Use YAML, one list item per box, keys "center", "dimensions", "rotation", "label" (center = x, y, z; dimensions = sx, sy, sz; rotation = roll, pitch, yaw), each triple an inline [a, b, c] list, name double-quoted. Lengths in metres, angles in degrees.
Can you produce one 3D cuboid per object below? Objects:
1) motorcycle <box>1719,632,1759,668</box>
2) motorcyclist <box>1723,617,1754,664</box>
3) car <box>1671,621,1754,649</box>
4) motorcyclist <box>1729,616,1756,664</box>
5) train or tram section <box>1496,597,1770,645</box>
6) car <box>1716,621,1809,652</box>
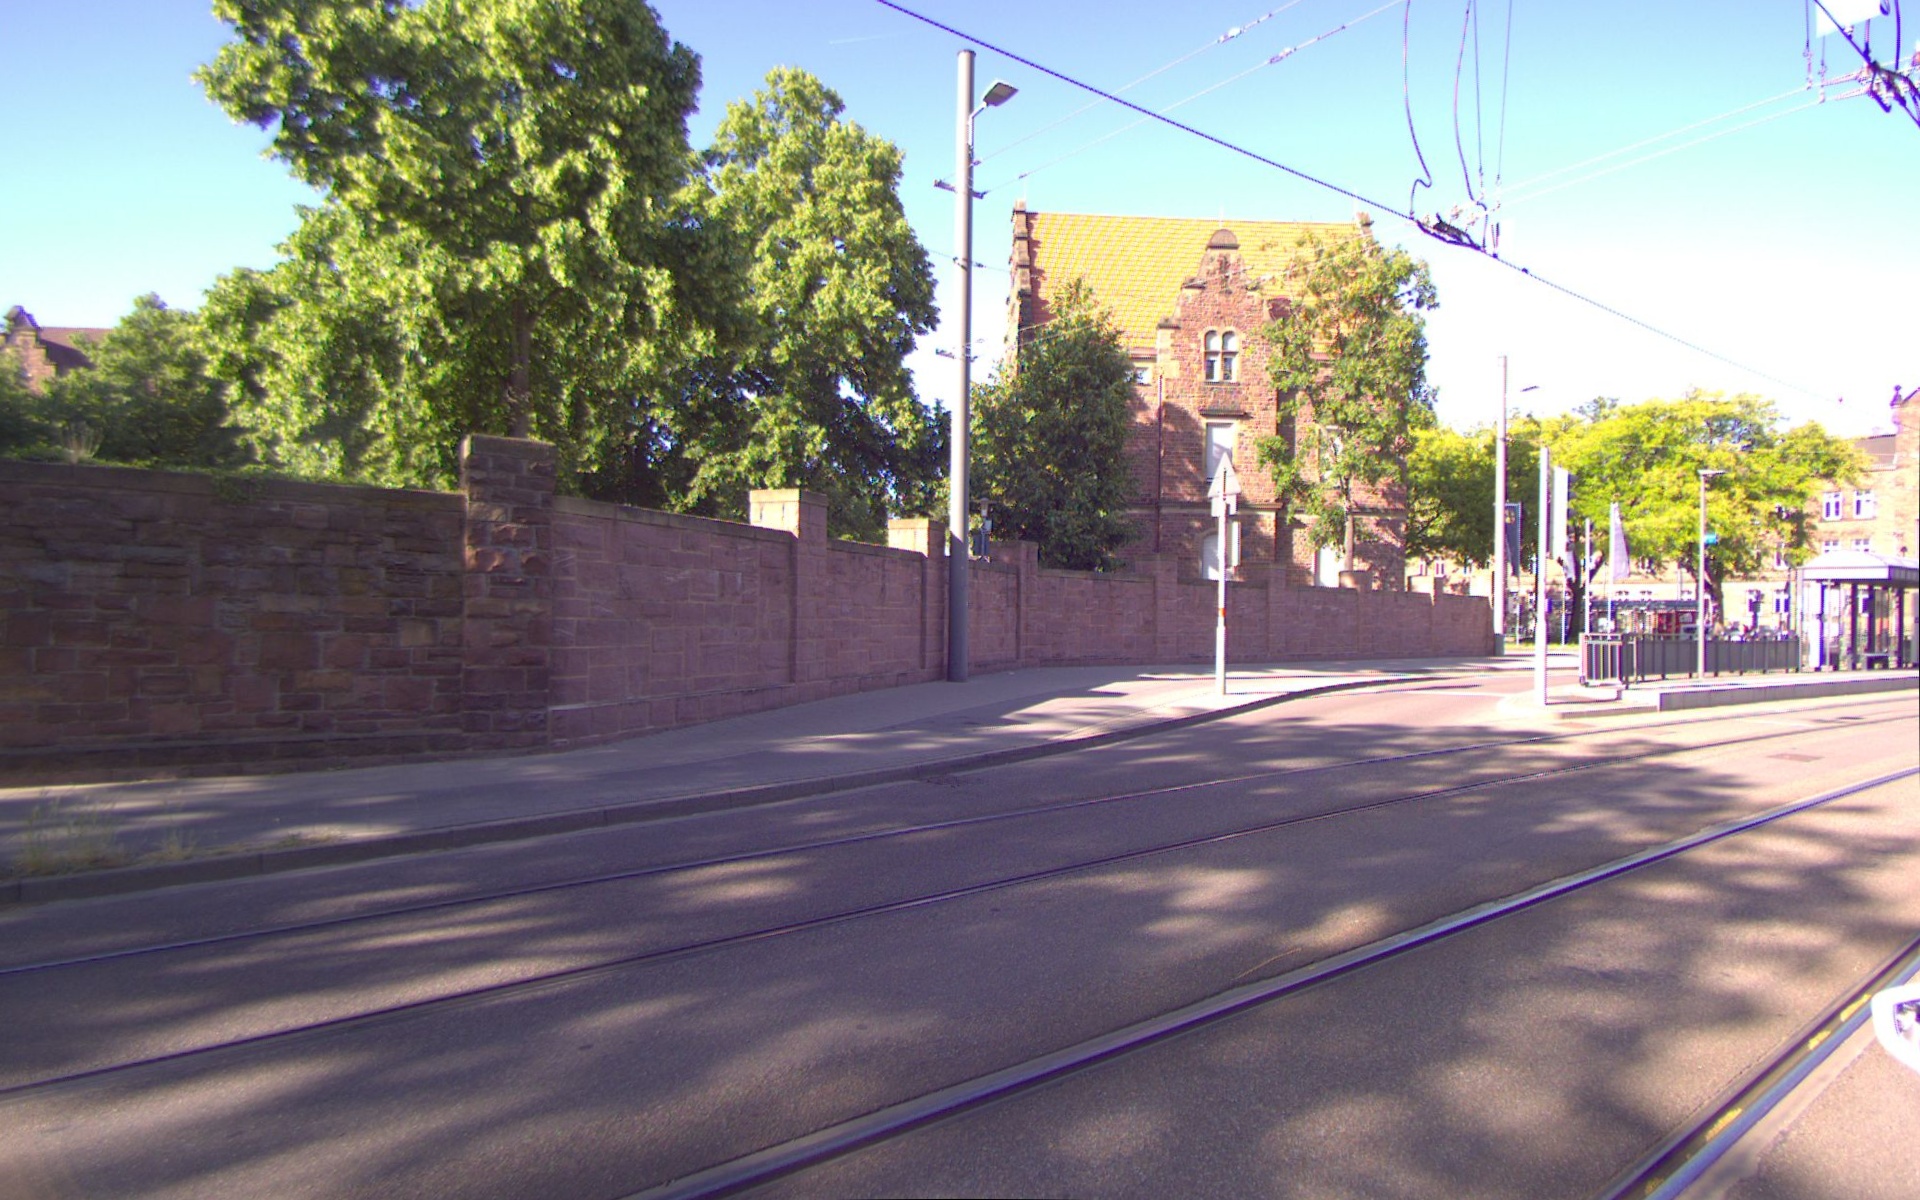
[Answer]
- center: [24.826, 1.574, 31.997]
  dimensions: [1.841, 1.108, 0.604]
  rotation: [1, 0, -39]
  label: "motorcycle"
- center: [24.735, 1.269, 31.913]
  dimensions: [0.442, 1.460, 0.678]
  rotation: [1, 0, -39]
  label: "motorcyclist"
- center: [49.169, 2.262, 65.695]
  dimensions: [1.798, 1.651, 3.964]
  rotation: [2, 0, -32]
  label: "car"
- center: [25.105, 1.276, 32.223]
  dimensions: [0.462, 1.536, 0.601]
  rotation: [1, 0, -39]
  label: "motorcyclist"
- center: [50.017, 1.482, 75.900]
  dimensions: [3.312, 3.196, 17.280]
  rotation: [2, -1, -33]
  label: "train or tram section"
- center: [47.744, 2.178, 59.811]
  dimensions: [1.798, 1.651, 3.964]
  rotation: [2, 0, -32]
  label: "car"
